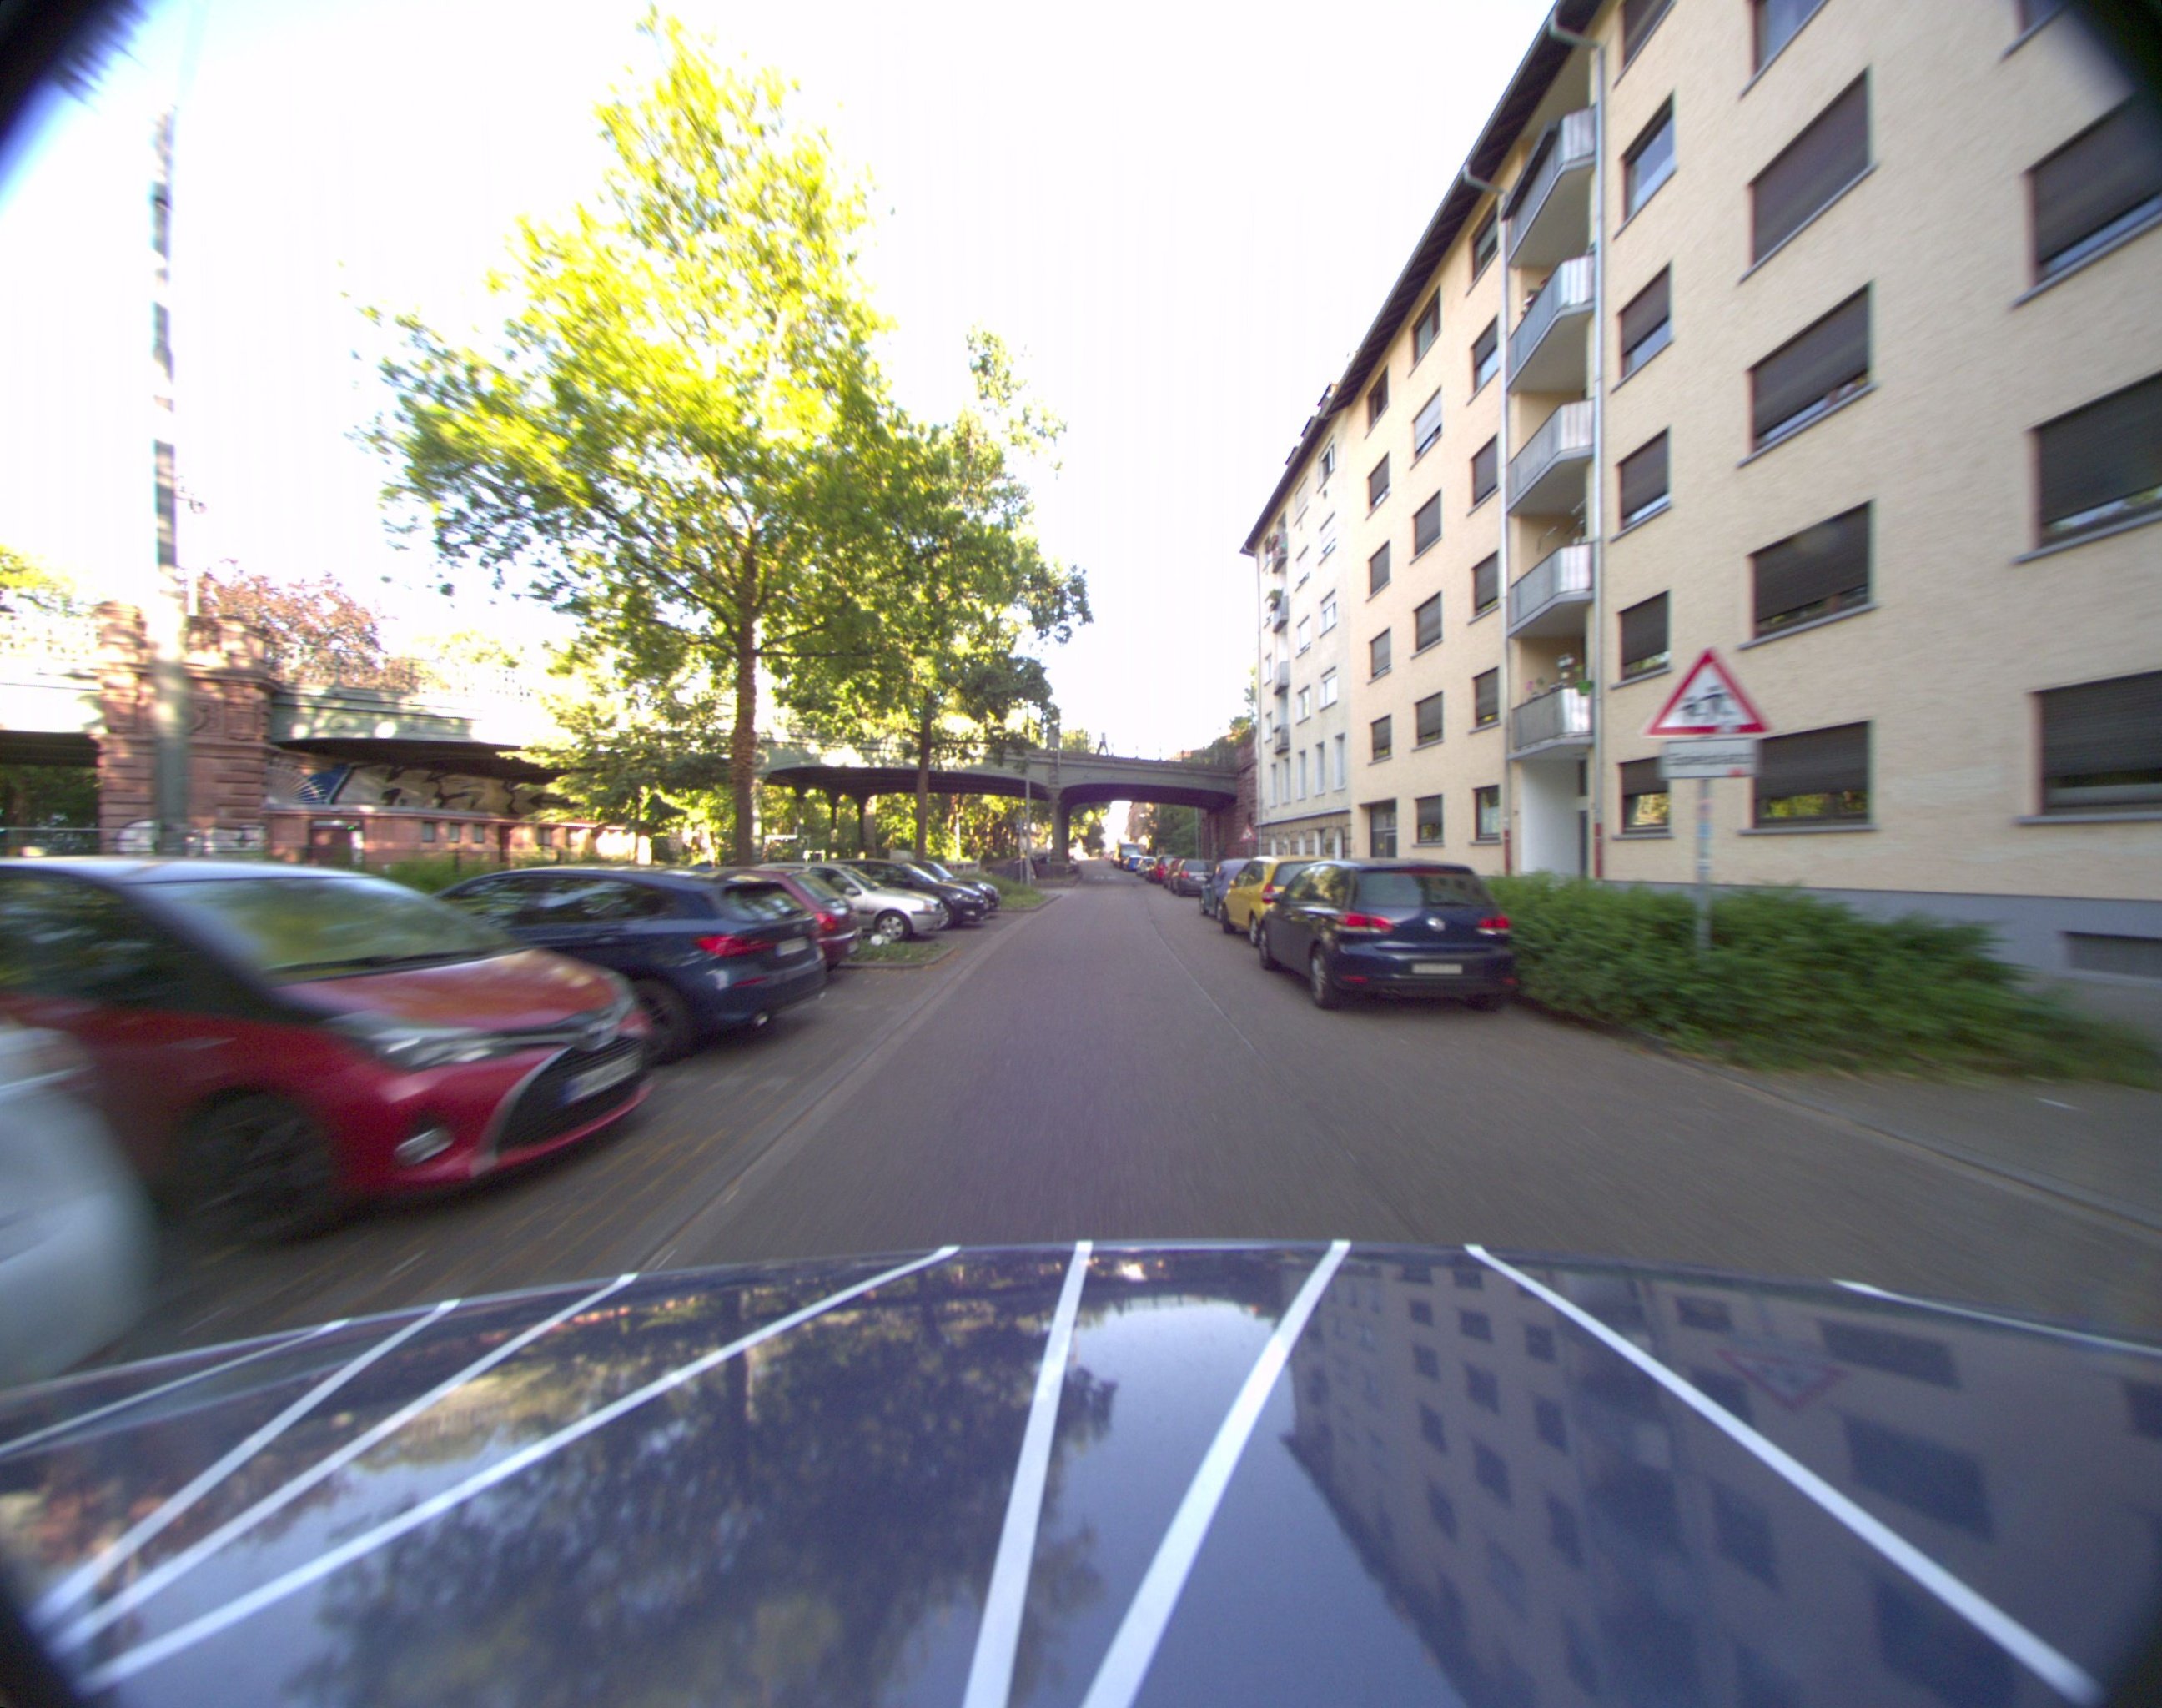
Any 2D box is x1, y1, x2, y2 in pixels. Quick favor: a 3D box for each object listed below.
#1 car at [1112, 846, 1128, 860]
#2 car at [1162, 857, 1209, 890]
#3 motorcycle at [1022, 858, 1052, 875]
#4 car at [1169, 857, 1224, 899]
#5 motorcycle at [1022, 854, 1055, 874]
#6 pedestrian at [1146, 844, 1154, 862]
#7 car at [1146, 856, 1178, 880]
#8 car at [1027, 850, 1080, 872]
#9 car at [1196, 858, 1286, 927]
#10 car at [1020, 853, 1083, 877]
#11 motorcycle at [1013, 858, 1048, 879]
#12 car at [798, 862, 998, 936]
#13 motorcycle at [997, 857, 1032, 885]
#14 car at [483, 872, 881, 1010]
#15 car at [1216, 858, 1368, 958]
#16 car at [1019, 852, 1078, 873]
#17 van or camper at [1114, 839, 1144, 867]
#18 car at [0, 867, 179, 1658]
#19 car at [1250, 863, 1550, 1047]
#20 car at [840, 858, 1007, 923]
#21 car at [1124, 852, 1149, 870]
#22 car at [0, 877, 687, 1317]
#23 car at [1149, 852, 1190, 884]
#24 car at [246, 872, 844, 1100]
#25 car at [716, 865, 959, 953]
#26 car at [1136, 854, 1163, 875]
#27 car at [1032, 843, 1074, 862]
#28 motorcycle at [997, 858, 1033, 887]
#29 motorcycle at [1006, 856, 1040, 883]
[{"bbox_3d":[4.556,-0.129,89.173,1.703,1.489,4.549,1,2,2],"label":"car"},{"bbox_3d":[4.849,0.877,35.707,1.693,1.433,4.000,0,0,1],"label":"car"},{"bbox_3d":[-2.825,0.791,49.018,1.729,1.024,0.810,-3,2,-33],"label":"motorcycle"},{"bbox_3d":[4.553,0.891,30.390,1.640,1.458,4.000,2,0,1],"label":"car"},{"bbox_3d":[-2.828,0.658,50.706,1.938,1.231,0.902,-2,2,-24],"label":"motorcycle"},{"bbox_3d":[7.379,-0.141,81.011,0.639,1.903,1.046,-2,2,-6],"label":"pedestrian"},{"bbox_3d":[5.144,0.862,48.531,1.721,1.455,4.000,1,1,1],"label":"car"},{"bbox_3d":[-2.321,0.563,64.402,4.387,1.699,1.906,-2,2,-3],"label":"car"},{"bbox_3d":[3.843,0.861,18.777,1.570,1.508,3.782,0,0,2],"label":"car"},{"bbox_3d":[-2.111,0.786,54.575,4.386,1.569,1.674,-2,2,-1],"label":"car"},{"bbox_3d":[-3.002,0.859,44.972,1.839,1.126,0.849,-2,2,-23],"label":"motorcycle"},{"bbox_3d":[-3.781,0.919,16.212,3.791,1.393,1.827,0,2,2],"label":"car"},{"bbox_3d":[-3.484,0.882,39.749,1.601,1.400,0.713,-1,2,21],"label":"motorcycle"},{"bbox_3d":[-4.508,0.953,9.087,3.792,1.393,1.765,0,2,-3],"label":"car"},{"bbox_3d":[3.590,0.842,13.632,1.707,1.516,3.773,0,0,0],"label":"car"},{"bbox_3d":[-2.605,0.655,61.658,4.596,1.597,1.735,0,2,4],"label":"car"},{"bbox_3d":[4.661,-0.186,74.939,2.242,2.509,6.418,-2,2,-2],"label":"van or camper"},{"bbox_3d":[-4.159,0.863,1.070,3.791,1.637,1.664,0,2,1],"label":"car"},{"bbox_3d":[3.126,0.875,8.408,1.743,1.470,4.000,1,0,2],"label":"car"},{"bbox_3d":[-3.737,0.850,18.536,3.792,1.464,1.634,0,2,-3],"label":"car"},{"bbox_3d":[4.979,0.591,68.830,1.749,1.458,4.373,-2,2,-3],"label":"car"},{"bbox_3d":[-4.217,0.904,3.637,3.790,1.465,1.664,0,2,3],"label":"car"},{"bbox_3d":[4.987,0.764,43.246,1.721,1.698,4.321,0,1,-1],"label":"car"},{"bbox_3d":[-4.106,0.926,6.189,3.789,1.439,1.664,0,2,6],"label":"car"},{"bbox_3d":[-4.211,0.938,13.570,3.791,1.393,1.664,0,2,0],"label":"car"},{"bbox_3d":[5.318,0.797,59.082,1.599,1.538,3.913,1,1,-2],"label":"car"},{"bbox_3d":[-3.217,-0.195,86.766,4.683,1.914,1.871,2,2,-1],"label":"car"},{"bbox_3d":[-3.286,0.932,37.801,1.601,1.400,0.713,-1,2,21],"label":"motorcycle"},{"bbox_3d":[-3.106,0.846,40.677,1.601,1.400,0.713,-1,2,21],"label":"motorcycle"}]
